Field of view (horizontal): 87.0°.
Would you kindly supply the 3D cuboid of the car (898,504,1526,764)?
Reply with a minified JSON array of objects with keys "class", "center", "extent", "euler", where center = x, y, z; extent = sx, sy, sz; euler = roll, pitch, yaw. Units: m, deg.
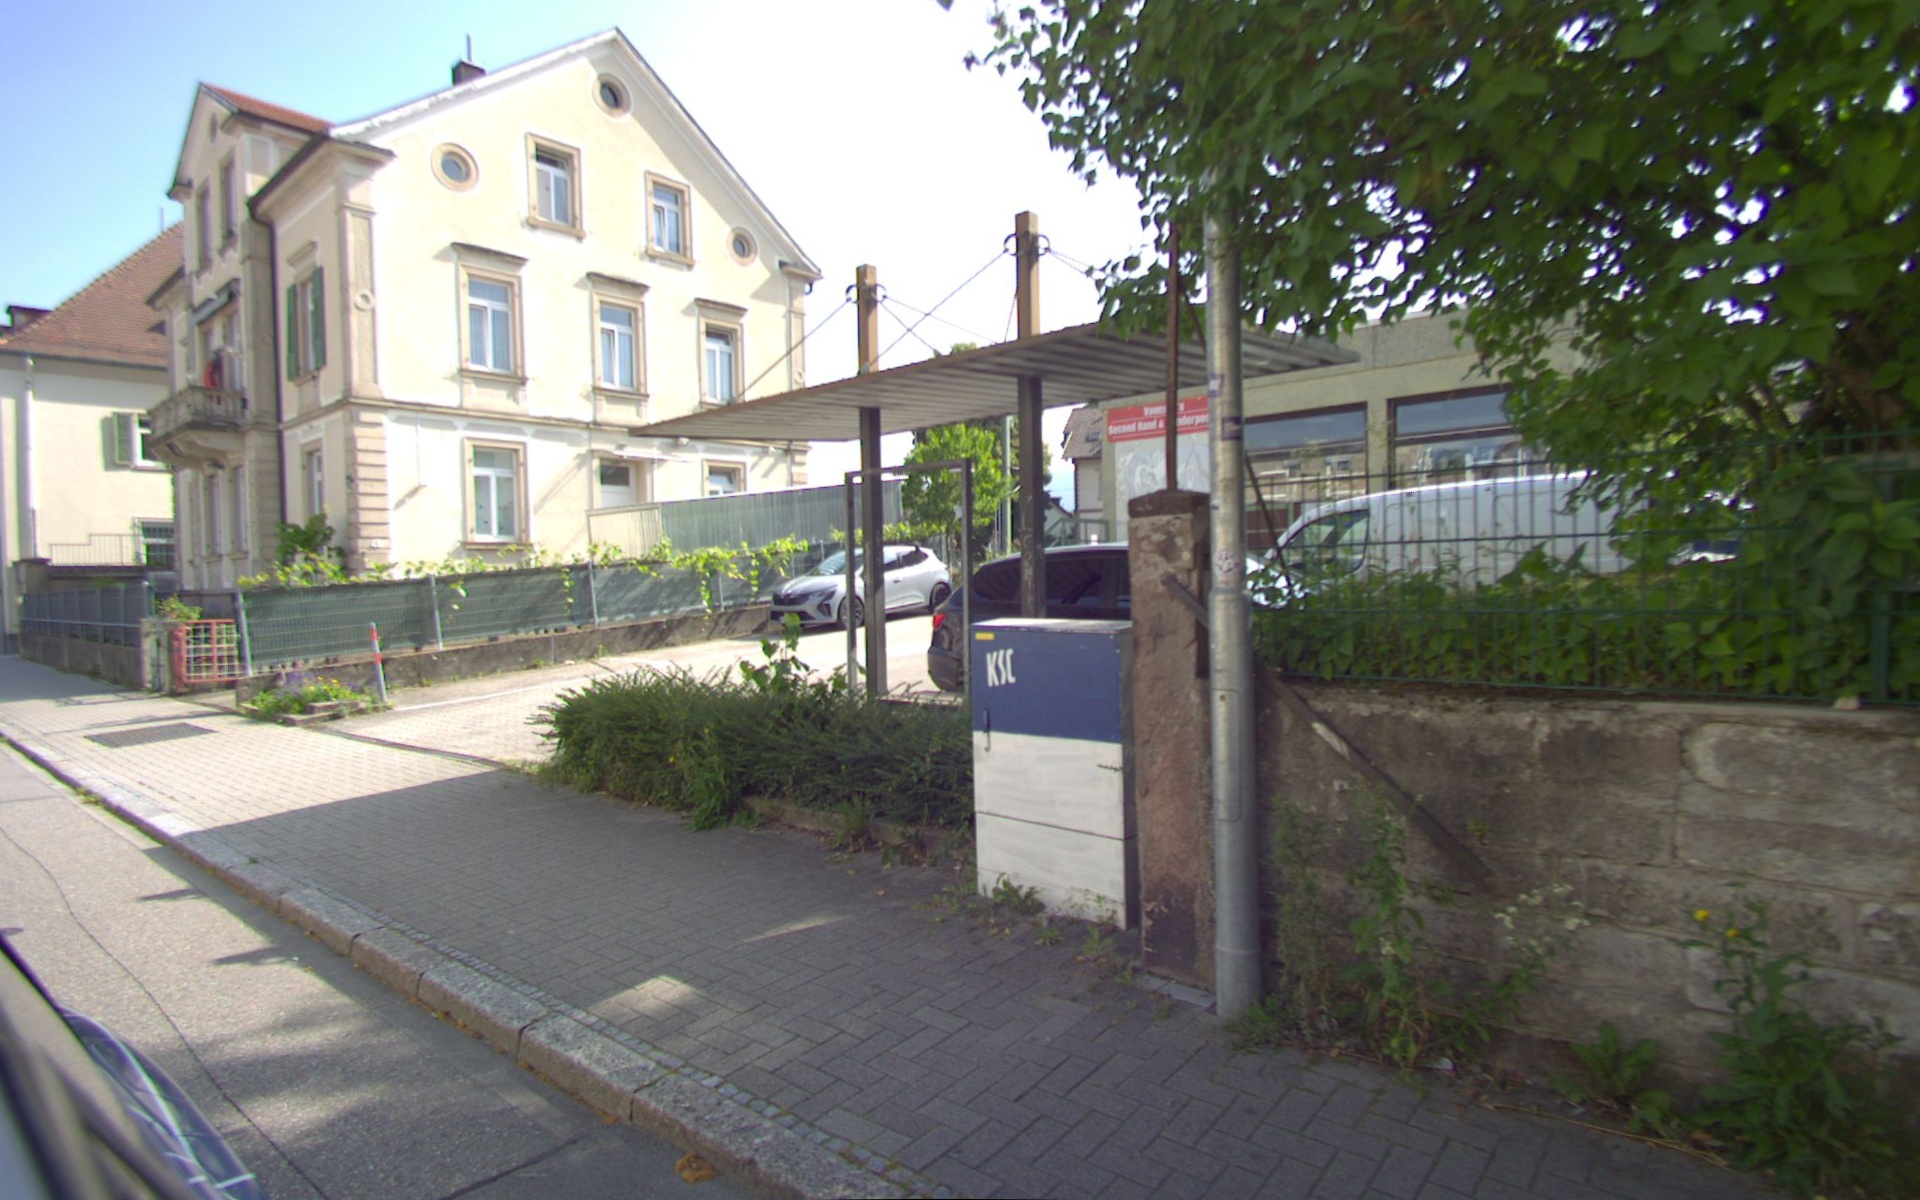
[{"class":"car","center":[1.680,0.198,7.773],"extent":[4.392,1.472,1.599],"euler":[-2,2,41]}]

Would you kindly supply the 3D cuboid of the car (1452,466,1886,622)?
[{"class":"car","center":[8.327,-0.603,12.126],"extent":[3.999,1.516,1.789],"euler":[-2,3,42]}]

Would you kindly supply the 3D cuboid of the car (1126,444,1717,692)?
[{"class":"car","center":[4.096,-0.260,9.456],"extent":[4.677,1.785,1.805],"euler":[-1,4,40]}]

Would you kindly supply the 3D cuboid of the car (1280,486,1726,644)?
[{"class":"car","center":[5.849,-0.331,11.149],"extent":[3.998,1.433,1.796],"euler":[-2,3,41]}]

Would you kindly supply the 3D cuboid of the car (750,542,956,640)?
[{"class":"car","center":[-1.964,-0.230,19.510],"extent":[1.704,1.426,3.795],"euler":[-1,6,39]}]
